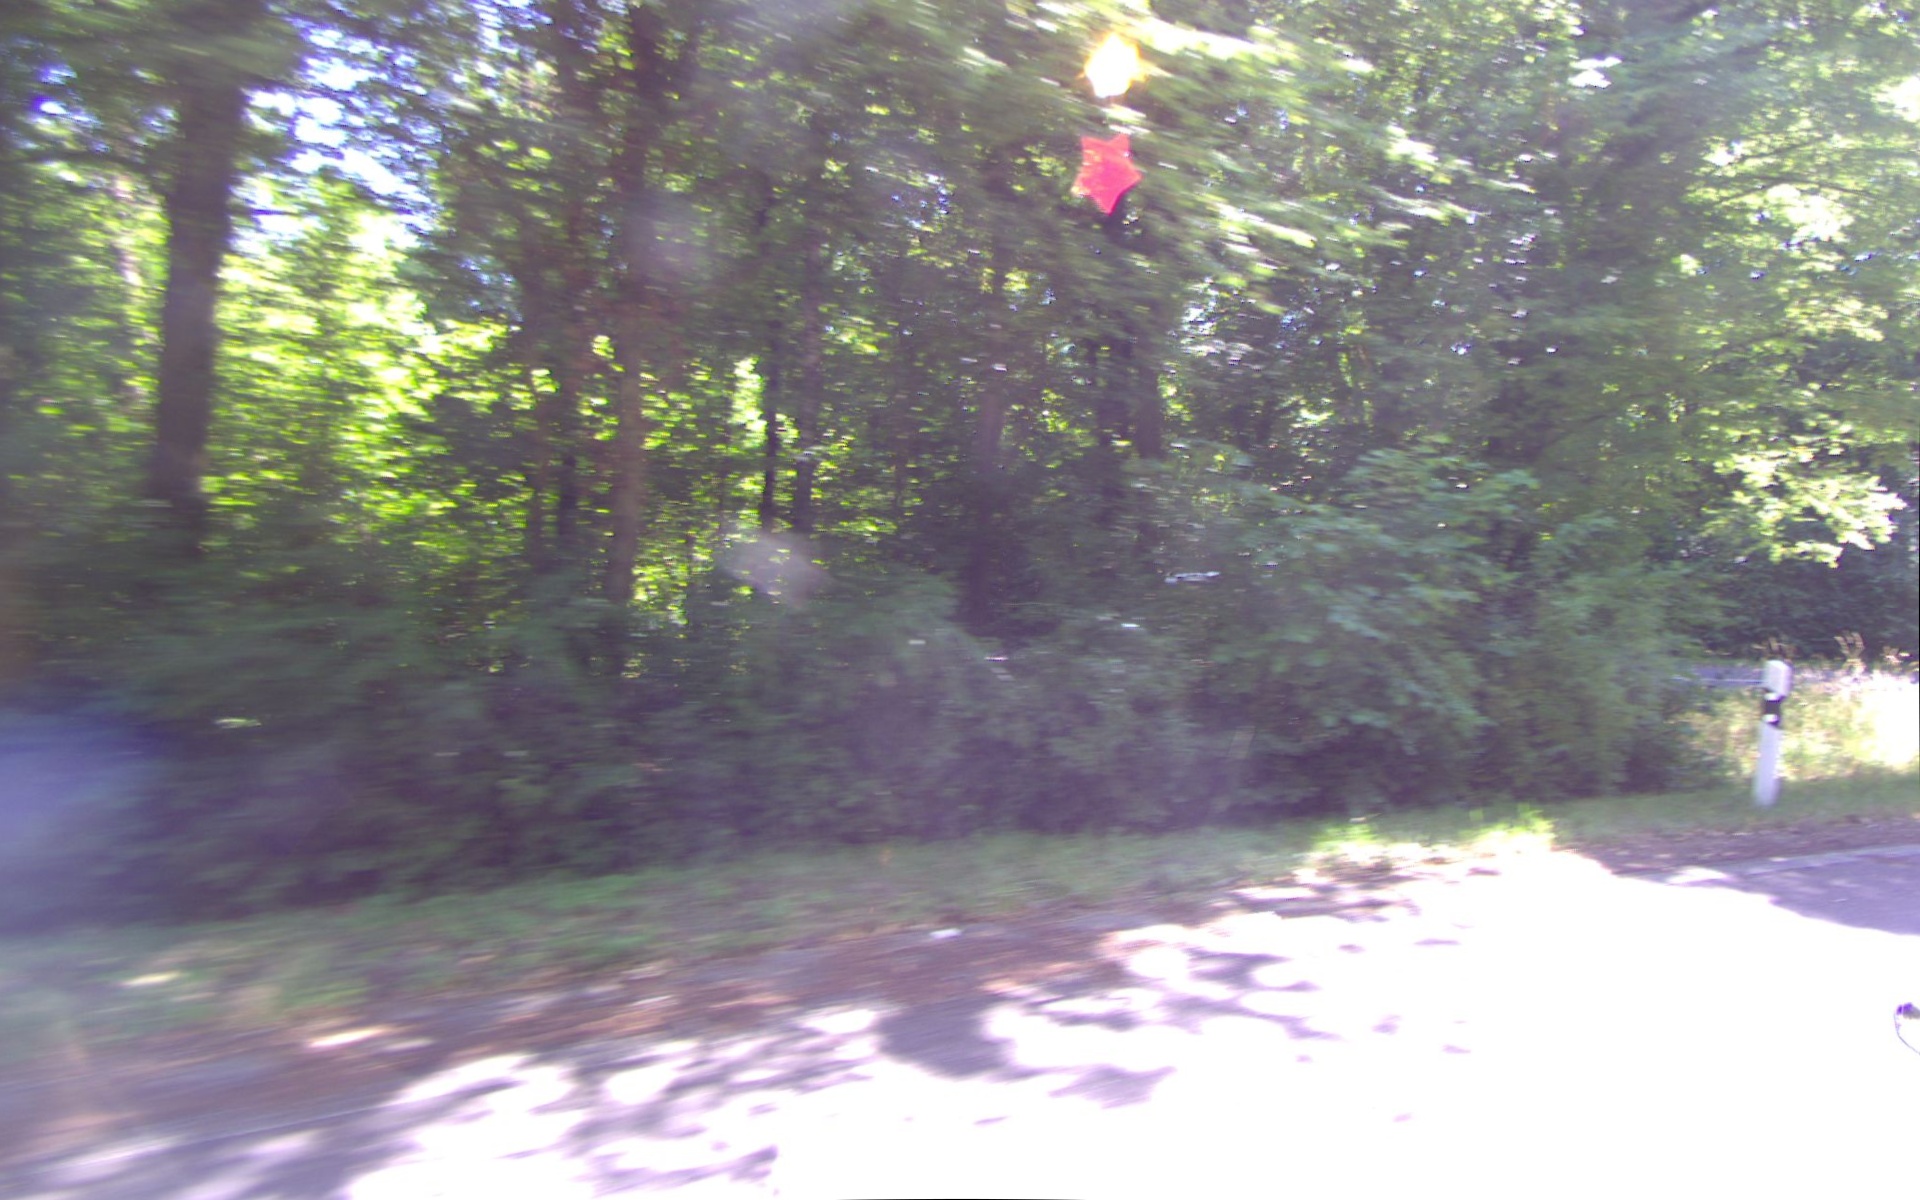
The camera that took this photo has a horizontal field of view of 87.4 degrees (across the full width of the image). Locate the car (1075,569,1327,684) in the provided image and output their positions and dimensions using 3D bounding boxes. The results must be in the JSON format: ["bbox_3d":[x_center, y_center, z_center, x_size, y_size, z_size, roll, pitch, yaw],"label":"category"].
[{"bbox_3d":[5.468,0.520,22.756,5.320,2.378,2.067,0,2,21],"label":"car"}]
